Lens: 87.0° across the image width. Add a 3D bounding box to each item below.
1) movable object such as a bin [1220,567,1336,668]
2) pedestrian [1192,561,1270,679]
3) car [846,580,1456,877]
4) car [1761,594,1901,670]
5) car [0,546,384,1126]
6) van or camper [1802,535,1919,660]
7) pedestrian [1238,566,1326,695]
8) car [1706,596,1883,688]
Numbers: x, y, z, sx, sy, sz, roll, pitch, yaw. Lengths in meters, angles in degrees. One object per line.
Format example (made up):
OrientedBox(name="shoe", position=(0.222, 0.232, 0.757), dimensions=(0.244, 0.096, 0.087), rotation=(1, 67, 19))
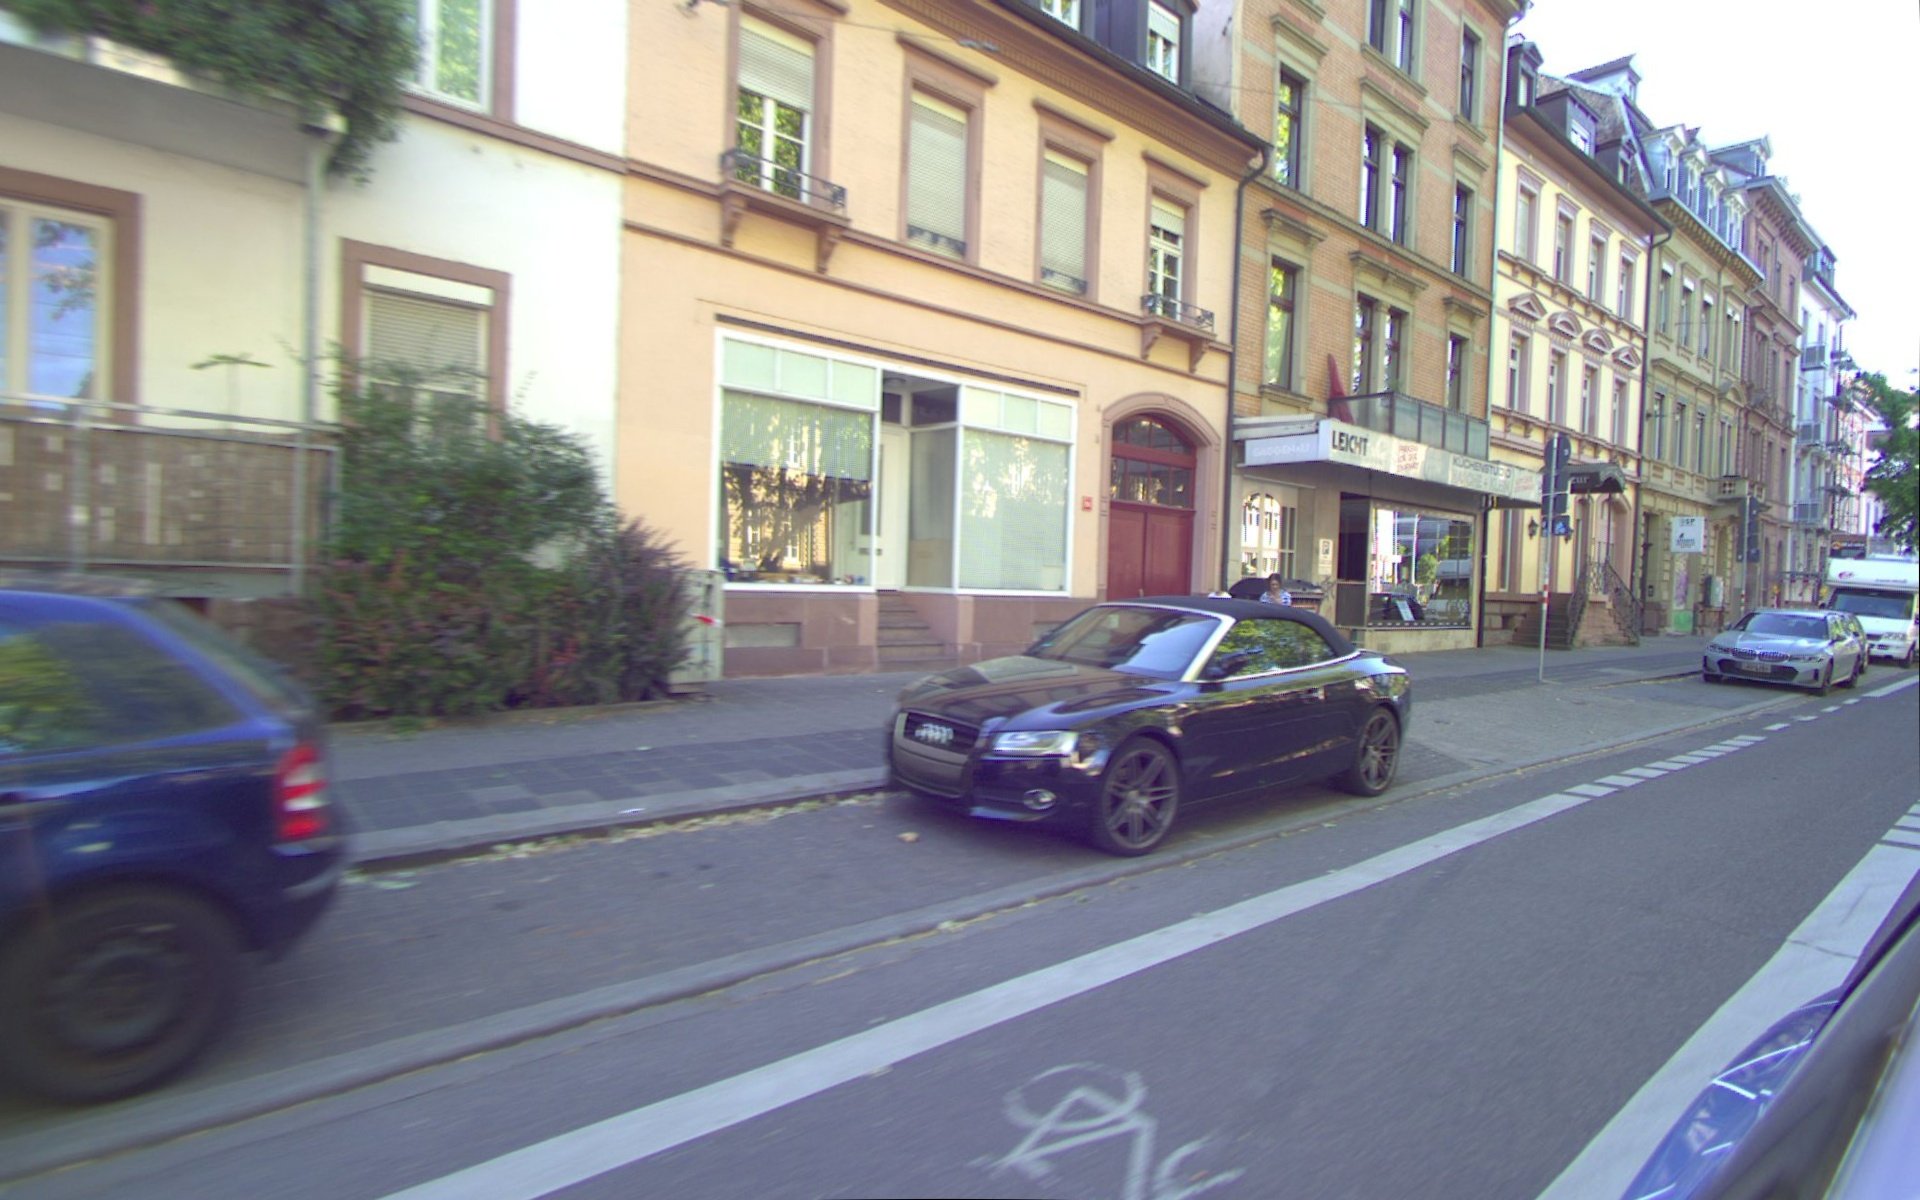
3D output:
OrientedBox(name="movable object such as a bin", position=(5.123, 0.250, 16.326), dimensions=(1.263, 1.539, 1.296), rotation=(0, 1, -40))
OrientedBox(name="pedestrian", position=(3.585, 0.249, 13.371), dimensions=(0.771, 1.501, 0.659), rotation=(0, 1, -41))
OrientedBox(name="car", position=(1.546, 0.622, 7.058), dimensions=(4.413, 1.409, 1.698), rotation=(0, 3, -39))
OrientedBox(name="car", position=(19.918, 0.664, 23.098), dimensions=(3.956, 1.451, 1.650), rotation=(0, 5, -39))
OrientedBox(name="car", position=(-3.776, 0.582, 2.559), dimensions=(3.800, 1.474, 1.655), rotation=(0, 3, -40))
OrientedBox(name="van or camper", position=(26.486, -0.113, 28.592), dimensions=(7.741, 3.007, 2.485), rotation=(0, 5, -39))
OrientedBox(name="pedestrian", position=(4.025, 0.358, 12.650), dimensions=(0.851, 1.523, 0.661), rotation=(0, 2, -41))
OrientedBox(name="car", position=(15.981, 0.710, 19.297), dimensions=(4.583, 1.452, 1.814), rotation=(0, 3, -41))
